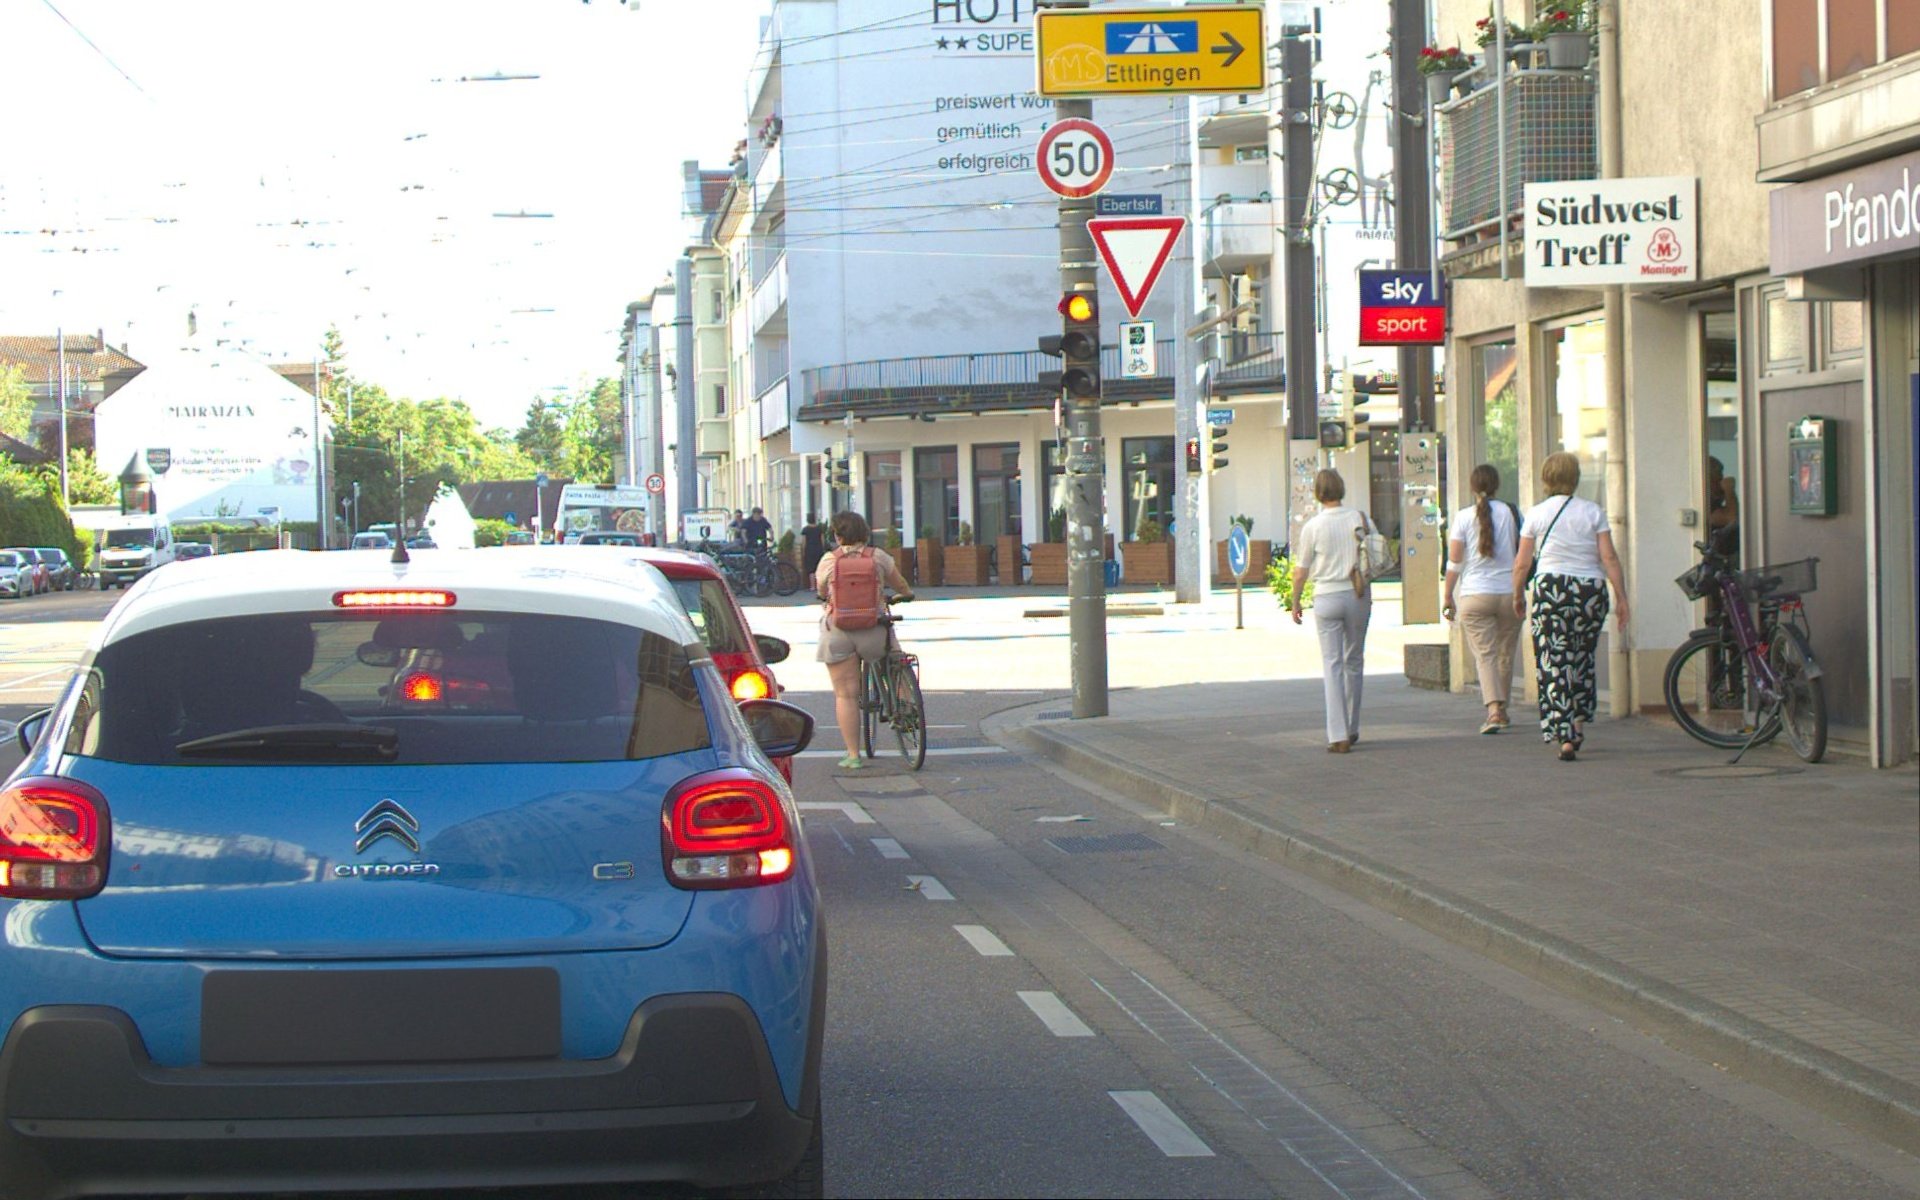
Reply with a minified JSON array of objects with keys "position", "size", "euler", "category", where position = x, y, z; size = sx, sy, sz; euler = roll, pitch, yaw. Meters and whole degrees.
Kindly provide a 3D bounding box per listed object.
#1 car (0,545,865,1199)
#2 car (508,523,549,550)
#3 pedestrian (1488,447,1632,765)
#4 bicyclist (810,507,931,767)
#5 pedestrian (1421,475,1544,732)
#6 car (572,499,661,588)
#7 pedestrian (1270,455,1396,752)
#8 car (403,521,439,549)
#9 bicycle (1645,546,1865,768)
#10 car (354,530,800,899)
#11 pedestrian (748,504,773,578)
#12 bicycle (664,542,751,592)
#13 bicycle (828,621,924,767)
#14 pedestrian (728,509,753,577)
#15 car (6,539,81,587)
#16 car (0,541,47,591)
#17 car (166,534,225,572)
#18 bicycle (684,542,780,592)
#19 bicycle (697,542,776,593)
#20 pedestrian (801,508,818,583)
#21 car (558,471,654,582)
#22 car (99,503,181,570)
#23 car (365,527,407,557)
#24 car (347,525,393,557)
[{"position":[-1.350,0.612,8.143],"size":[1.743,1.457,4.001],"euler":[0,1,-9],"category":"car"},{"position":[-20.601,-3.049,164.092],"size":[1.754,1.255,3.833],"euler":[-1,1,-10],"category":"car"},{"position":[3.246,0.021,18.643],"size":[0.541,1.666,0.650],"euler":[-3,1,-5],"category":"pedestrian"},{"position":[-0.587,0.229,22.295],"size":[0.726,1.640,0.790],"euler":[-1,1,-3],"category":"bicyclist"},{"position":[3.166,0.011,20.857],"size":[0.541,1.502,0.611],"euler":[-3,3,-5],"category":"pedestrian"},{"position":[-6.934,-1.144,69.293],"size":[1.732,1.744,3.214],"euler":[0,1,-6],"category":"car"},{"position":[2.160,0.009,19.943],"size":[0.541,1.666,0.624],"euler":[-3,3,-5],"category":"pedestrian"},{"position":[-33.912,-4.089,216.235],"size":[1.993,1.678,4.001],"euler":[-2,2,-12],"category":"car"},{"position":[4.118,0.268,17.932],"size":[0.530,1.068,1.811],"euler":[-1,1,-6],"category":"bicycle"},{"position":[-1.625,0.412,15.654],"size":[1.738,1.415,4.001],"euler":[-1,1,-3],"category":"car"},{"position":[-4.252,-1.258,73.270],"size":[0.491,1.550,0.384],"euler":[-1,1,-6],"category":"pedestrian"},{"position":[-5.165,-0.677,70.264],"size":[1.720,0.953,0.702],"euler":[-1,1,-1],"category":"bicycle"},{"position":[-0.565,0.603,22.709],"size":[0.498,0.861,1.749],"euler":[-1,1,-5],"category":"bicycle"},{"position":[-5.065,-1.321,79.410],"size":[0.491,1.550,0.648],"euler":[-2,1,-9],"category":"pedestrian"},{"position":[-31.152,-1.276,116.934],"size":[1.870,1.568,4.001],"euler":[-1,1,-6],"category":"car"},{"position":[-29.684,-1.054,106.897],"size":[1.910,1.492,4.001],"euler":[-2,2,-7],"category":"car"},{"position":[-32.352,-1.987,145.516],"size":[2.021,1.520,4.001],"euler":[-1,1,-7],"category":"car"},{"position":[-4.566,-0.659,68.930],"size":[1.873,0.953,0.702],"euler":[-1,1,-1],"category":"bicycle"},{"position":[-4.417,-0.639,67.876],"size":[1.503,0.953,0.702],"euler":[-1,1,-1],"category":"bicycle"},{"position":[-3.158,-1.146,72.061],"size":[0.284,1.550,0.305],"euler":[-2,1,-12],"category":"pedestrian"},{"position":[-7.638,-1.573,74.176],"size":[1.993,2.317,4.001],"euler":[0,1,-6],"category":"car"},{"position":[-28.631,-2.225,120.149],"size":[2.206,2.243,4.678],"euler":[-1,2,-7],"category":"car"},{"position":[-31.289,-3.175,187.515],"size":[2.021,1.520,4.001],"euler":[-2,2,-7],"category":"car"},{"position":[-29.215,-2.943,170.301],"size":[2.021,1.520,4.001],"euler":[-1,1,-7],"category":"car"}]
